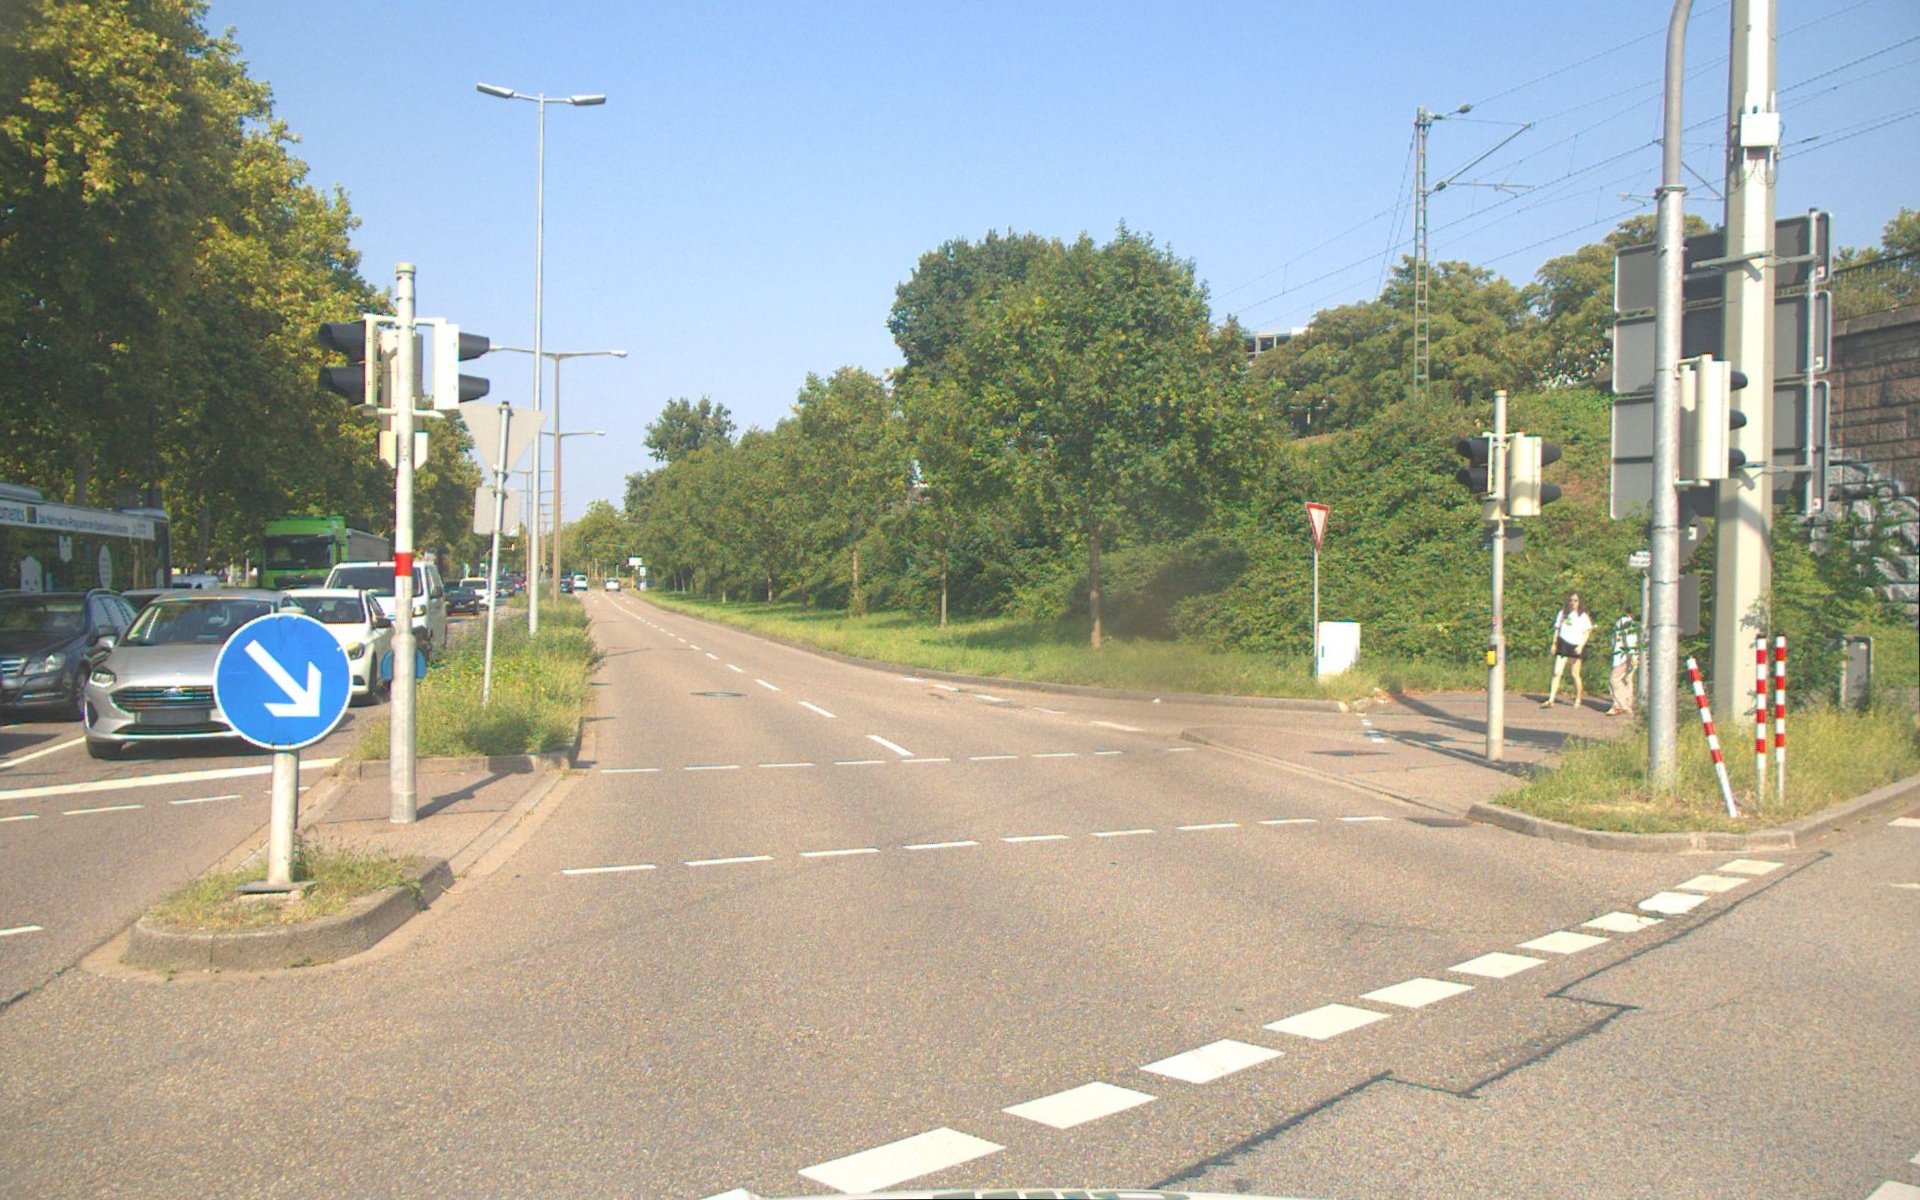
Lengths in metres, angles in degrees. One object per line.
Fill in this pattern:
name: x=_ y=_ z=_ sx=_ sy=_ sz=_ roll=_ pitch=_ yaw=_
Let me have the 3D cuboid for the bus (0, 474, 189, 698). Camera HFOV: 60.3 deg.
bus: x=-15.796 y=-0.213 z=27.775 sx=2.545 sy=3.133 sz=12.271 roll=1 pitch=0 yaw=-13

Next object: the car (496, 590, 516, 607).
car: x=-42.642 y=-0.111 z=155.460 sx=1.717 sy=1.505 sz=4.568 roll=-2 pitch=0 yaw=-15

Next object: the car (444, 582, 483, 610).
car: x=-25.983 y=-0.196 z=86.656 sx=1.586 sy=1.423 sz=3.845 roll=-1 pitch=0 yaw=-12

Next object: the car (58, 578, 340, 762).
car: x=-7.148 y=0.559 z=15.931 sx=1.615 sy=1.521 sz=3.988 roll=-1 pitch=1 yaw=-12

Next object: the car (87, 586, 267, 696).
car: x=-11.808 y=0.570 z=25.172 sx=1.677 sy=1.492 sz=3.808 roll=-1 pitch=0 yaw=-13

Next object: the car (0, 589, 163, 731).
car: x=-10.703 y=0.617 z=19.171 sx=1.676 sy=1.467 sz=3.988 roll=2 pitch=0 yaw=-12

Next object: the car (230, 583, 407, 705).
car: x=-8.309 y=0.503 z=21.728 sx=1.680 sy=1.426 sz=4.068 roll=0 pitch=1 yaw=-14

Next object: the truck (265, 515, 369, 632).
truck: x=-22.494 y=-0.899 z=58.116 sx=2.563 sy=3.886 sz=5.870 roll=-1 pitch=0 yaw=-14

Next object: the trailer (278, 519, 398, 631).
trailer: x=-24.060 y=-0.886 z=64.658 sx=2.588 sy=3.888 sz=13.763 roll=-1 pitch=0 yaw=-13

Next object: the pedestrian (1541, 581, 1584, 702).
pedestrian: x=8.769 y=0.596 z=24.072 sx=0.557 sy=1.711 sz=0.493 roll=1 pitch=2 yaw=18

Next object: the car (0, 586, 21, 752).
car: x=-9.360 y=0.656 z=13.543 sx=1.823 sy=1.530 sz=4.248 roll=0 pitch=1 yaw=-14

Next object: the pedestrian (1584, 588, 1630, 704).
pedestrian: x=9.107 y=0.639 z=23.287 sx=0.558 sy=1.594 sz=0.536 roll=1 pitch=-1 yaw=18

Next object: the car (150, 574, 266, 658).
car: x=-18.616 y=0.371 z=41.134 sx=1.674 sy=1.921 sz=4.733 roll=-1 pitch=0 yaw=-13

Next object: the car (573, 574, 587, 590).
car: x=-47.420 y=-2.194 z=206.396 sx=1.731 sy=1.937 sz=3.777 roll=1 pitch=0 yaw=-13

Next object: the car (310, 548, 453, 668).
car: x=-10.108 y=0.118 z=29.209 sx=1.879 sy=1.896 sz=4.872 roll=-1 pitch=0 yaw=-14
